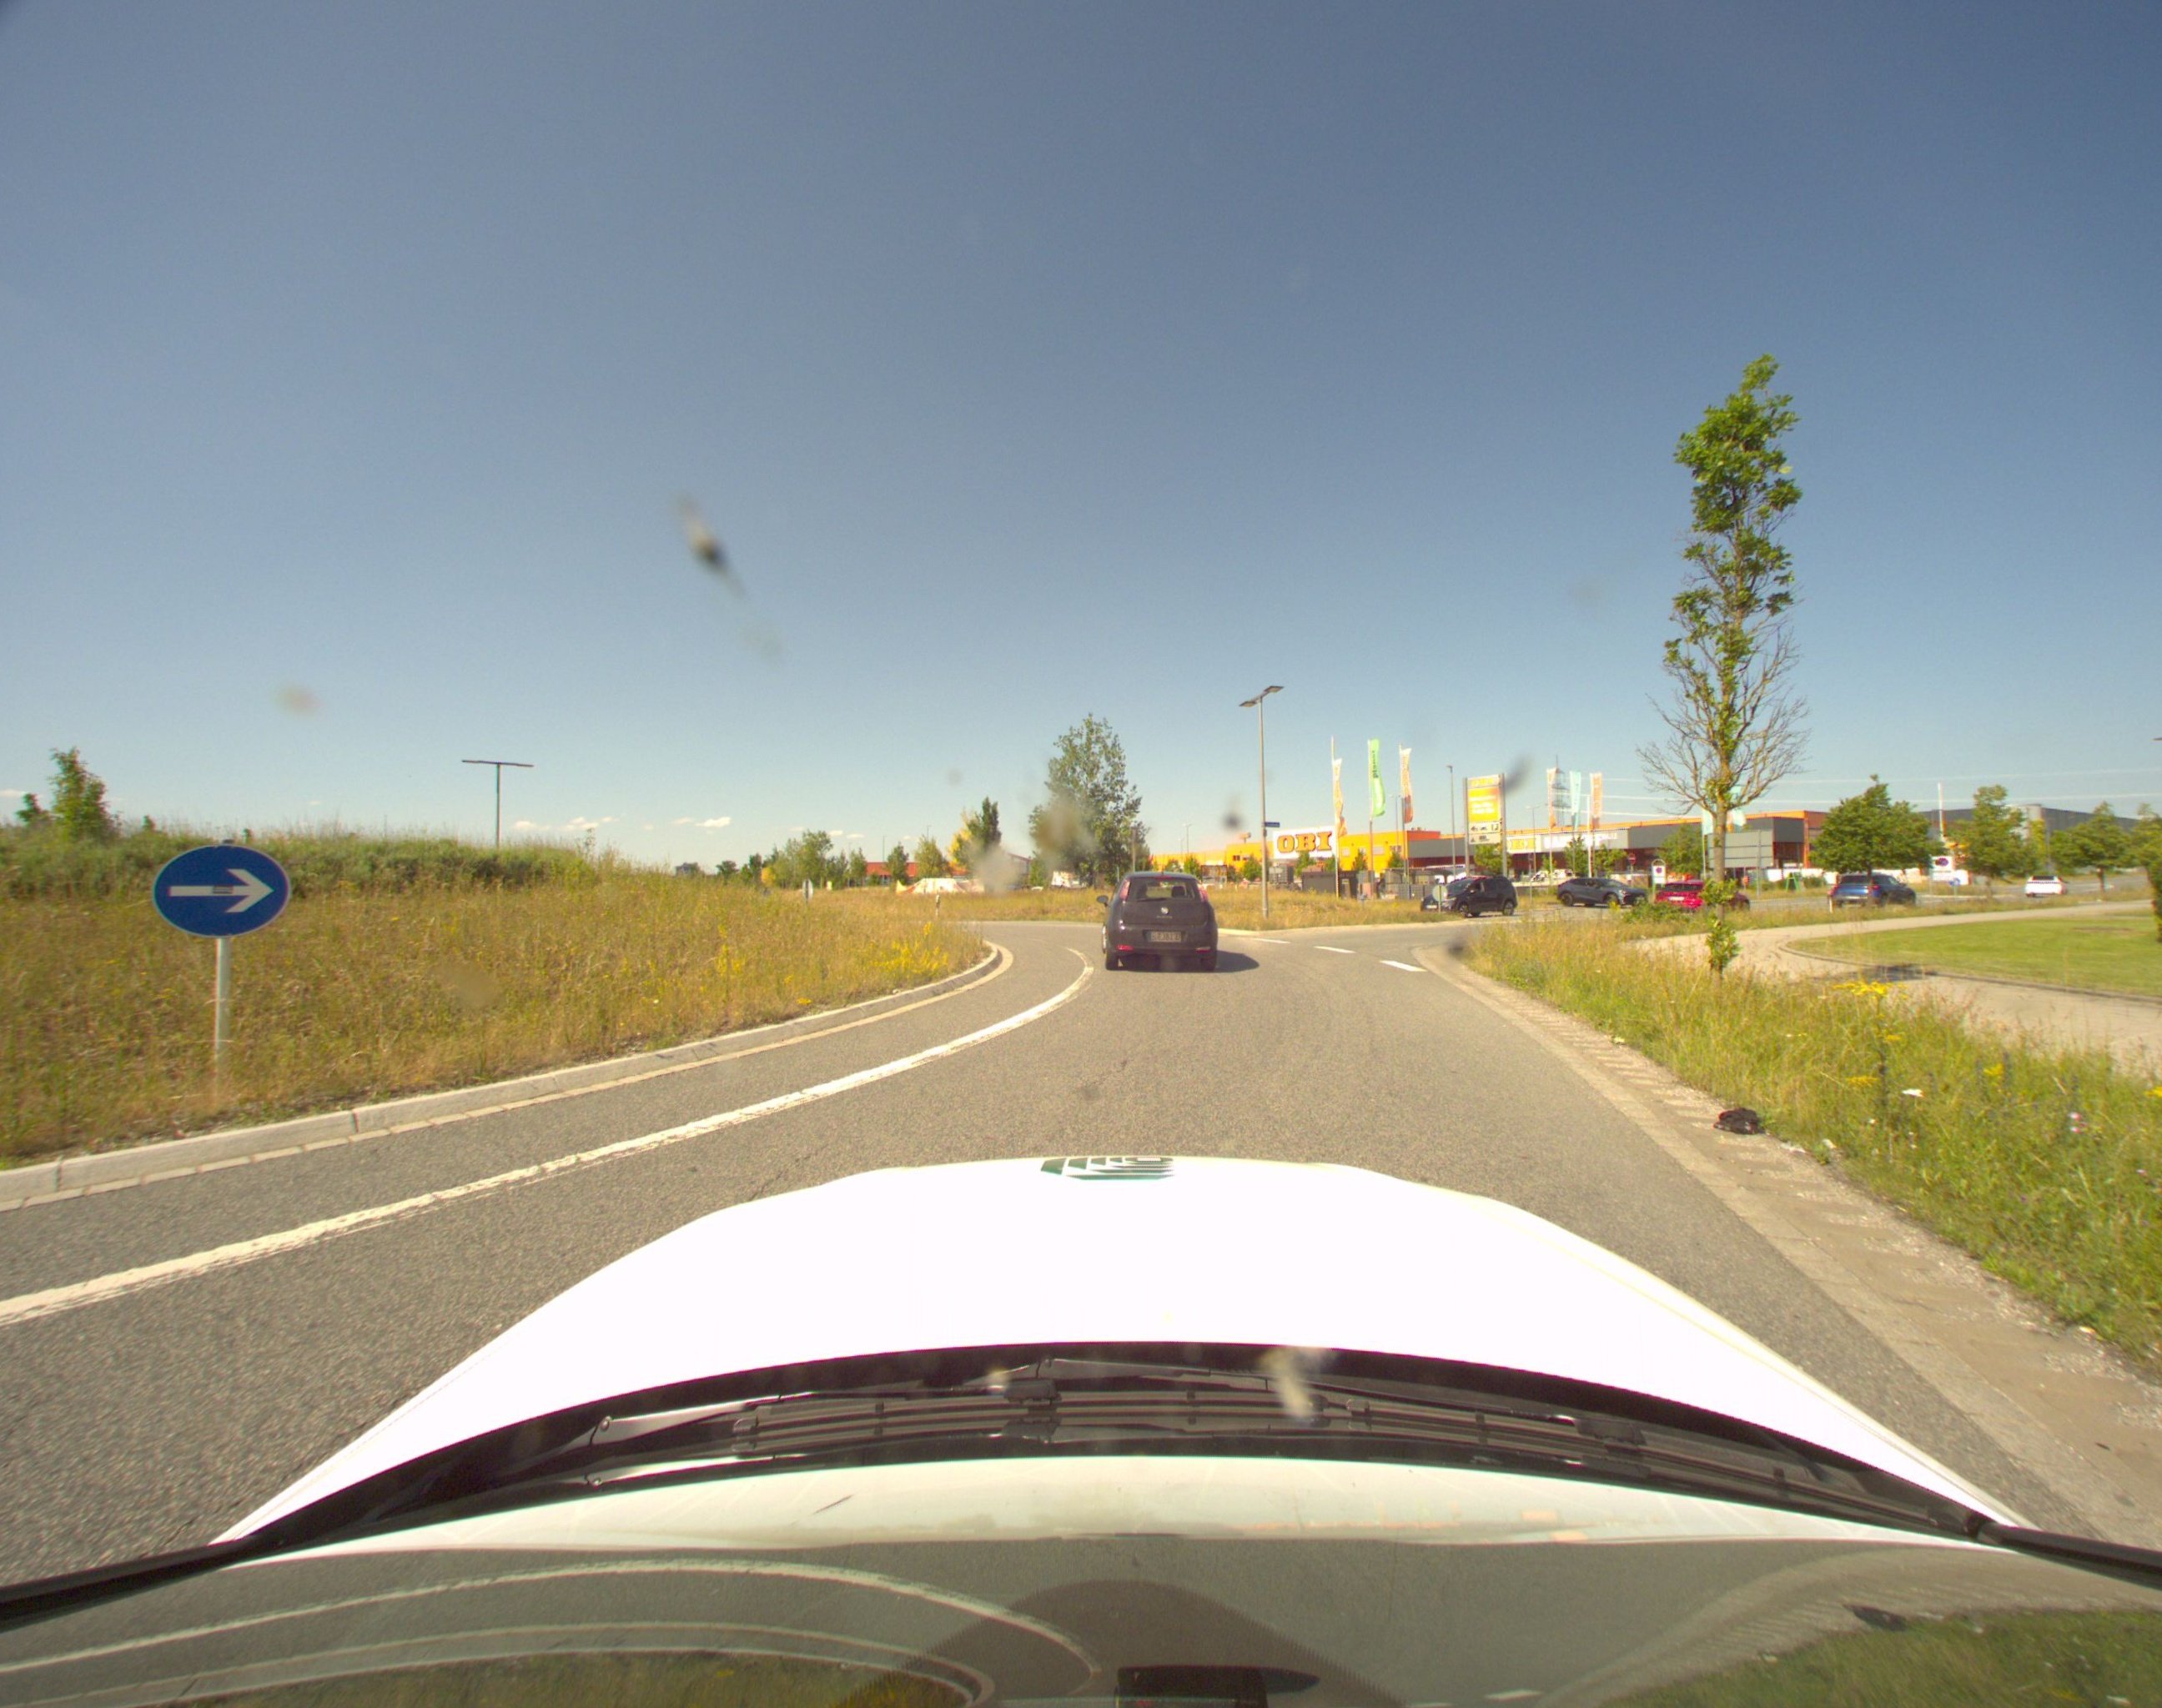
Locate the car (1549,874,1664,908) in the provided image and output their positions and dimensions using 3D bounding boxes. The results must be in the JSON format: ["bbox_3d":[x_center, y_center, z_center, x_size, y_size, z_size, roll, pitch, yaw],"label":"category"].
[{"bbox_3d":[27.539,1.979,42.863,2.080,1.627,4.660,0,-4,-23],"label":"car"}]

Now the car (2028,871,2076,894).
[{"bbox_3d":[63.679,1.846,53.390,3.362,1.441,1.499,0,-2,-32],"label":"car"}]

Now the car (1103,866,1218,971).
[{"bbox_3d":[1.282,0.977,13.578,1.632,1.488,3.908,0,-2,4],"label":"car"}]

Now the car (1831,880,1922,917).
[{"bbox_3d":[37.889,2.091,38.772,4.088,1.635,1.841,1,-2,-27],"label":"car"}]

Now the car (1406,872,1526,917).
[{"bbox_3d":[15.723,1.652,33.265,4.637,1.706,1.940,0,-4,-27],"label":"car"}]

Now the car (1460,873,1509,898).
[{"bbox_3d":[31.541,2.487,63.629,3.786,1.841,1.683,3,-4,-32],"label":"car"}]

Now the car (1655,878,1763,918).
[{"bbox_3d":[24.145,1.656,31.300,4.128,1.416,1.792,1,-1,-29],"label":"car"}]
